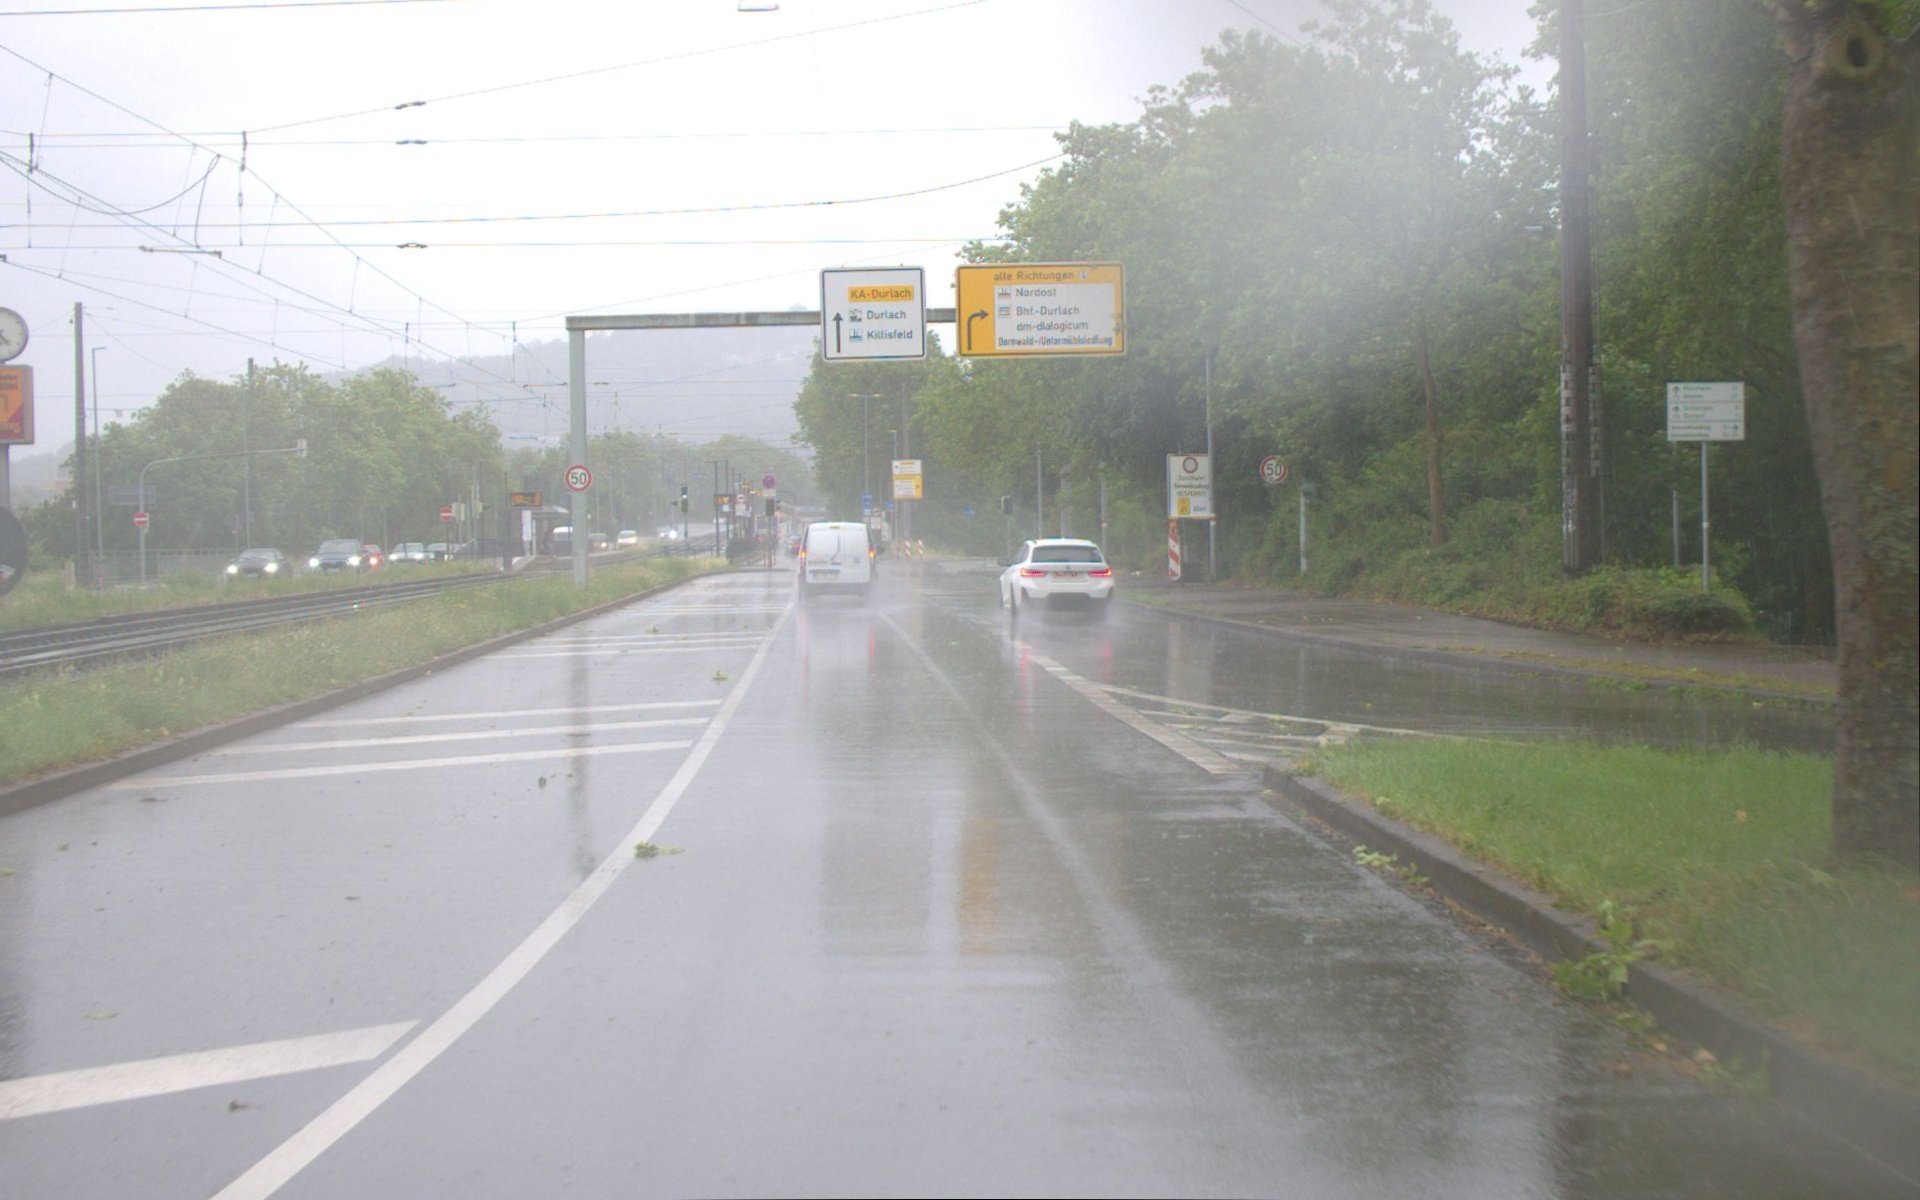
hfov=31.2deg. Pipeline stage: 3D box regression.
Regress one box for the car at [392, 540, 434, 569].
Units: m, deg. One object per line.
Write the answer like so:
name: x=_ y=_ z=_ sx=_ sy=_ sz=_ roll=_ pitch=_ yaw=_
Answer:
car: x=-28.442 y=-2.394 z=178.763 sx=1.720 sy=1.489 sz=4.001 roll=0 pitch=1 yaw=-3

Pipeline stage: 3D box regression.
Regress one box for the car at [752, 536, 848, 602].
car: x=-3.535 y=-0.707 z=76.418 sx=2.077 sy=1.415 sz=4.001 roll=0 pitch=1 yaw=-2

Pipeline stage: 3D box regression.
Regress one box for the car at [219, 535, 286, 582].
car: x=-26.590 y=-1.580 z=129.316 sx=1.943 sy=1.680 sz=4.781 roll=-1 pitch=1 yaw=-5

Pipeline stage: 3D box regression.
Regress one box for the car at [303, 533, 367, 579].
car: x=-23.211 y=-1.657 z=127.826 sx=1.943 sy=1.610 sz=4.990 roll=-1 pitch=1 yaw=-6

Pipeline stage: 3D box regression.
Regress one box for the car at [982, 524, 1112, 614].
car: x=1.516 y=-0.583 z=61.329 sx=1.948 sy=1.531 sz=4.467 roll=-1 pitch=1 yaw=-3
